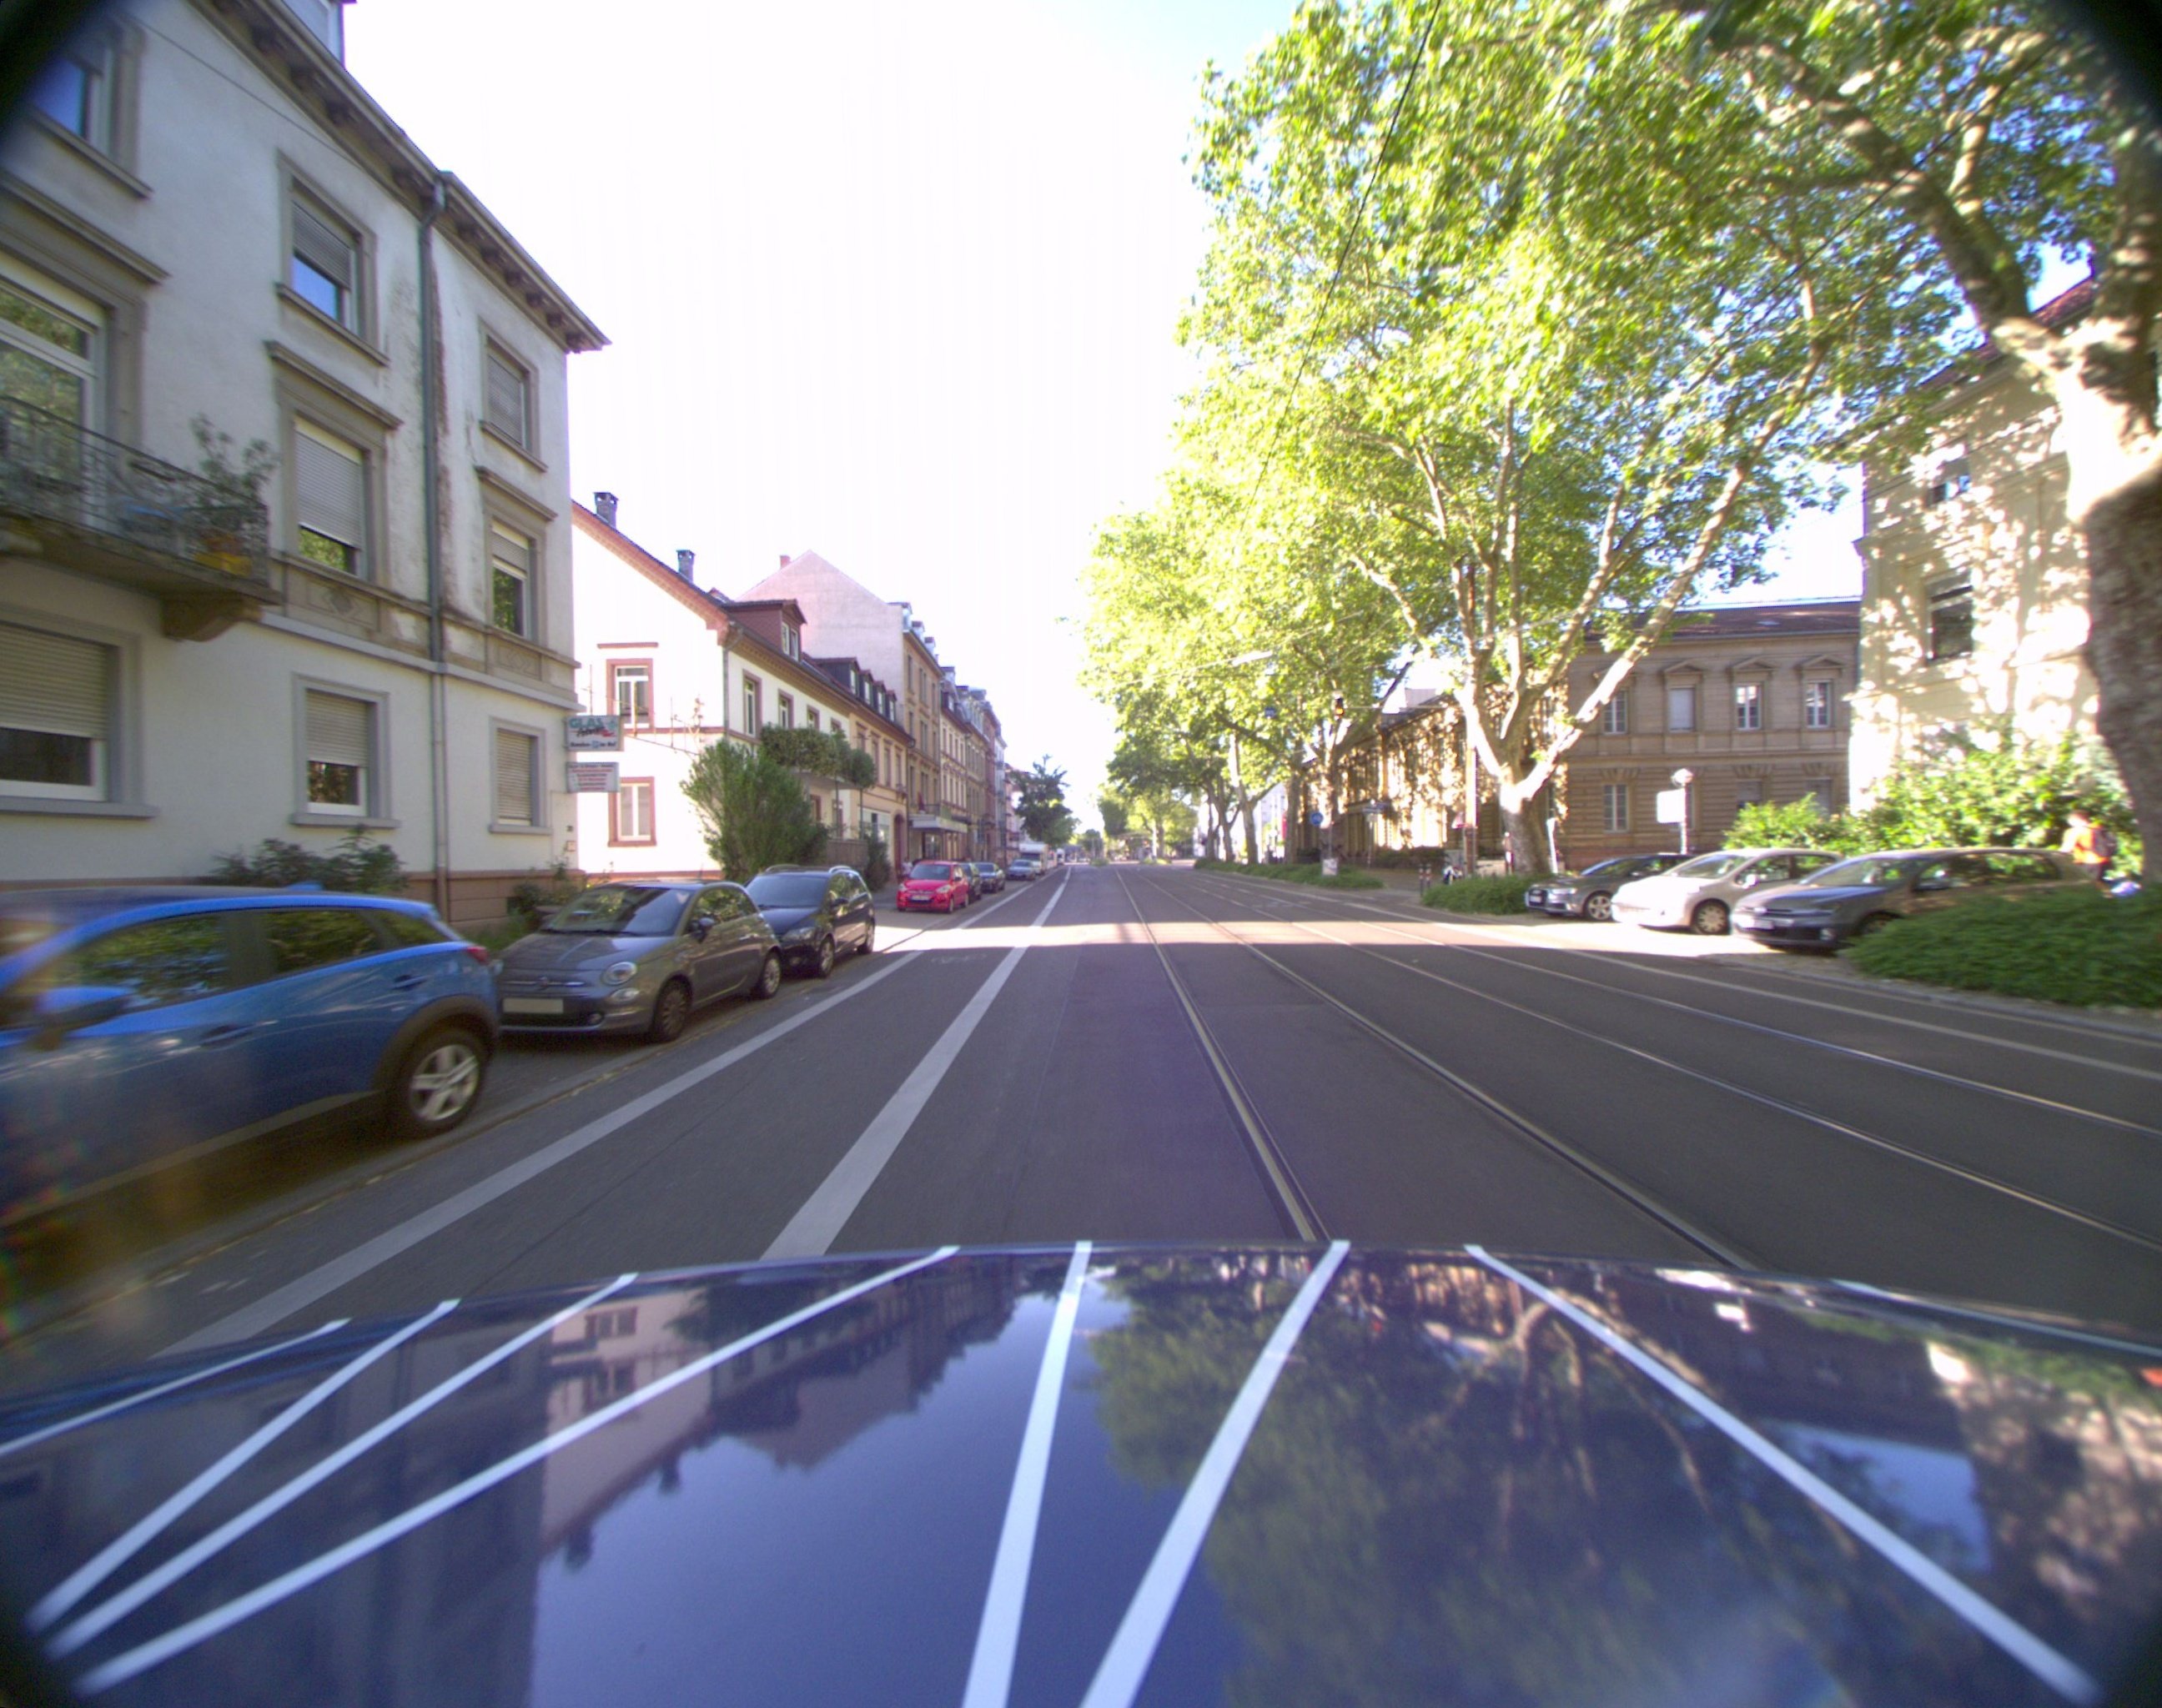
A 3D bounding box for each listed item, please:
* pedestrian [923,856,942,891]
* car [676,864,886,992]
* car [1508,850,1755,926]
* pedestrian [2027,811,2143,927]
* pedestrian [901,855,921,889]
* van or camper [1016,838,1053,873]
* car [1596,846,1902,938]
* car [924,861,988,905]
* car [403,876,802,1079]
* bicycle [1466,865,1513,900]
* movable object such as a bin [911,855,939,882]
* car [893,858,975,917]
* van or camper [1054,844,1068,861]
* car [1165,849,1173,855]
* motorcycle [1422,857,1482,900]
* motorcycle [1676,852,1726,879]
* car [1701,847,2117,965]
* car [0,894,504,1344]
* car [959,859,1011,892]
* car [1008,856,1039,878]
[{"bbox_3d":[-6.637,0.860,33.923,0.662,1.496,0.866,-1,1,0],"label":"pedestrian"},{"bbox_3d":[-4.547,1.027,12.209,1.885,1.577,3.931,2,1,-2],"label":"car"},{"bbox_3d":[11.733,0.698,16.404,3.929,1.324,1.847,-3,1,1],"label":"car"},{"bbox_3d":[16.711,0.235,12.665,0.867,1.839,0.837,-2,1,-6],"label":"pedestrian"},{"bbox_3d":[-7.580,0.782,33.895,0.659,1.474,0.785,-2,1,0],"label":"pedestrian"},{"bbox_3d":[-4.159,0.081,68.871,2.483,2.955,7.884,2,1,2],"label":"van or camper"},{"bbox_3d":[11.923,0.635,13.773,3.931,1.444,1.800,-2,1,1],"label":"car"},{"bbox_3d":[-4.544,1.011,28.058,1.655,1.448,3.868,0,1,1],"label":"car"},{"bbox_3d":[-4.561,1.054,8.020,1.803,1.448,3.767,2,1,0],"label":"car"},{"bbox_3d":[11.929,0.819,22.240,0.542,0.935,2.035,-2,0,9],"label":"bicycle"},{"bbox_3d":[-9.025,0.834,44.104,1.296,1.511,1.286,-2,1,1],"label":"movable object such as a bin"},{"bbox_3d":[-4.482,0.969,23.590,1.638,1.538,3.576,4,1,2],"label":"car"},{"bbox_3d":[-3.734,-0.337,142.958,2.173,3.074,7.290,0,0,1],"label":"van or camper"},{"bbox_3d":[22.788,-0.487,197.587,1.870,1.620,4.562,-1,0,6],"label":"car"},{"bbox_3d":[10.827,0.691,22.292,0.886,1.140,2.392,-2,0,9],"label":"motorcycle"},{"bbox_3d":[24.415,0.428,29.980,0.721,0.971,1.956,-3,1,13],"label":"motorcycle"},{"bbox_3d":[11.579,0.674,10.856,3.929,1.454,1.805,-1,1,1],"label":"car"},{"bbox_3d":[-4.857,1.033,3.058,1.884,1.448,4.026,2,1,2],"label":"car"},{"bbox_3d":[-4.400,0.971,35.473,1.698,1.384,4.495,0,0,2],"label":"car"},{"bbox_3d":[-4.074,0.919,54.266,1.814,1.426,4.664,0,1,0],"label":"car"}]
